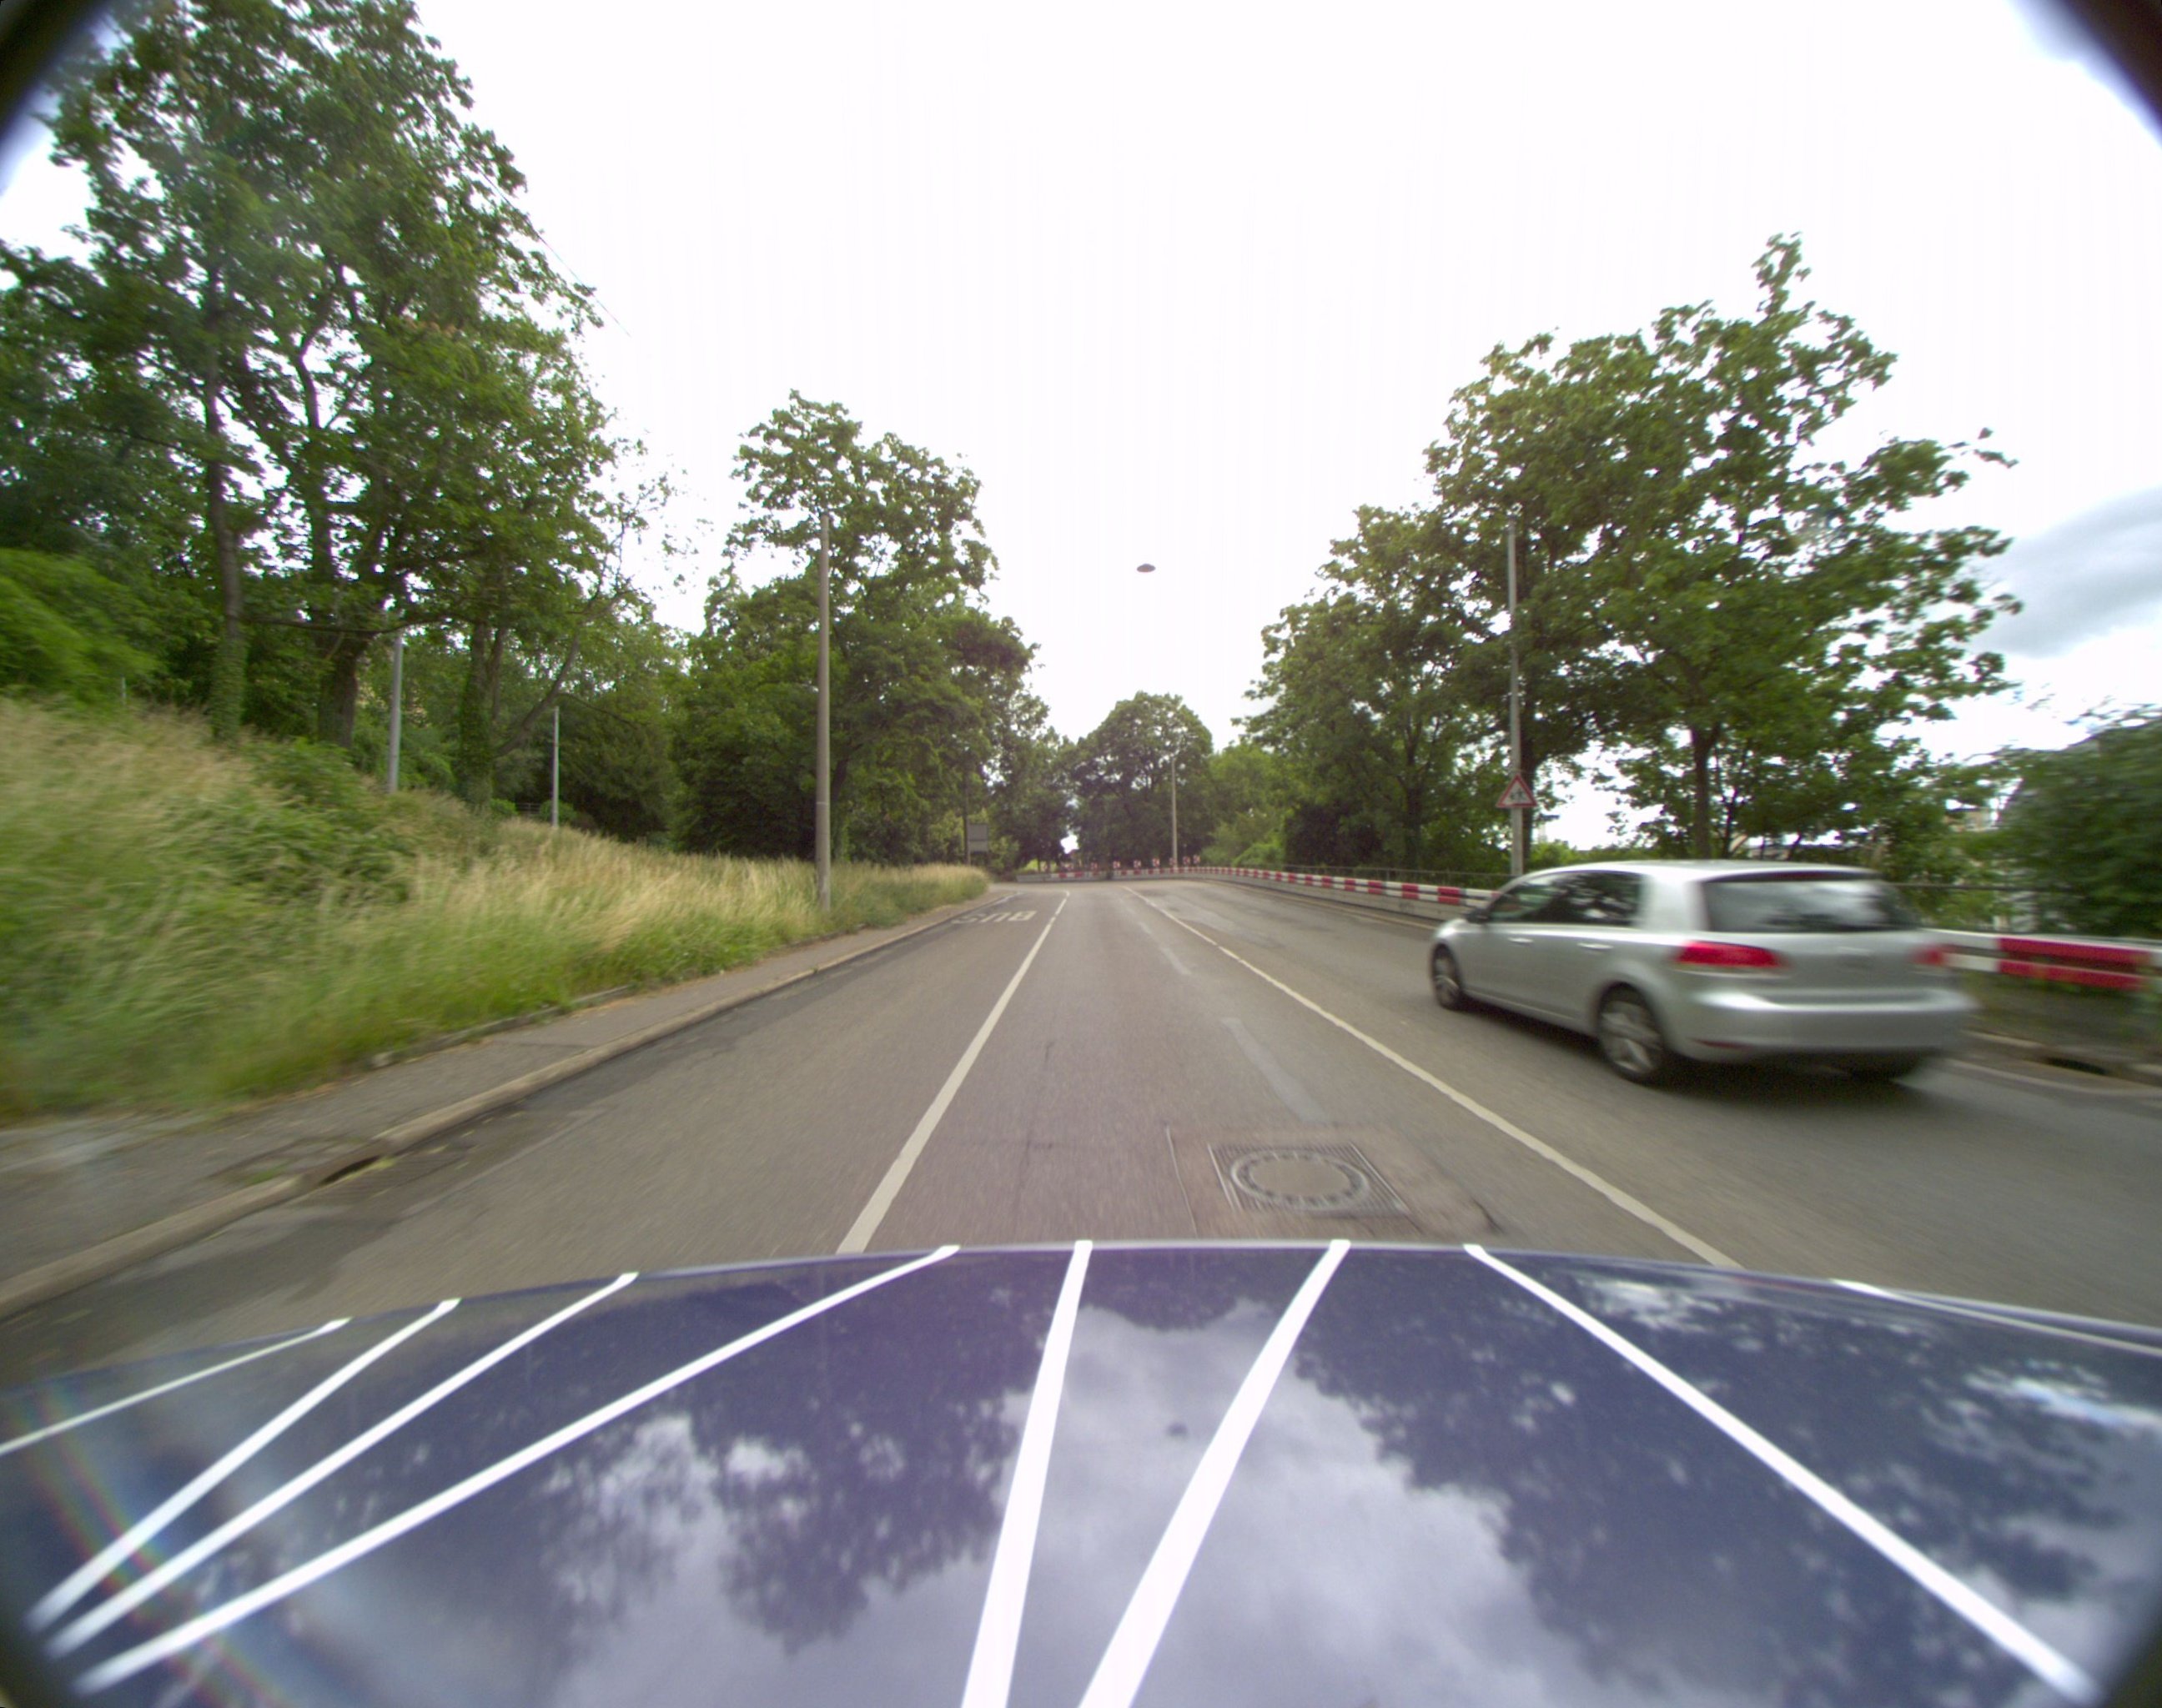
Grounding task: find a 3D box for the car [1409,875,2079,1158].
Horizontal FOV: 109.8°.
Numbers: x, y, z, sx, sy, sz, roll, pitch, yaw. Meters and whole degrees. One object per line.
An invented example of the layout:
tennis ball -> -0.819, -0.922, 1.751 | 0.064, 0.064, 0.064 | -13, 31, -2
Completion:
car -> 4.440, 0.931, 6.139 | 1.799, 1.418, 4.144 | -1, -1, 1
